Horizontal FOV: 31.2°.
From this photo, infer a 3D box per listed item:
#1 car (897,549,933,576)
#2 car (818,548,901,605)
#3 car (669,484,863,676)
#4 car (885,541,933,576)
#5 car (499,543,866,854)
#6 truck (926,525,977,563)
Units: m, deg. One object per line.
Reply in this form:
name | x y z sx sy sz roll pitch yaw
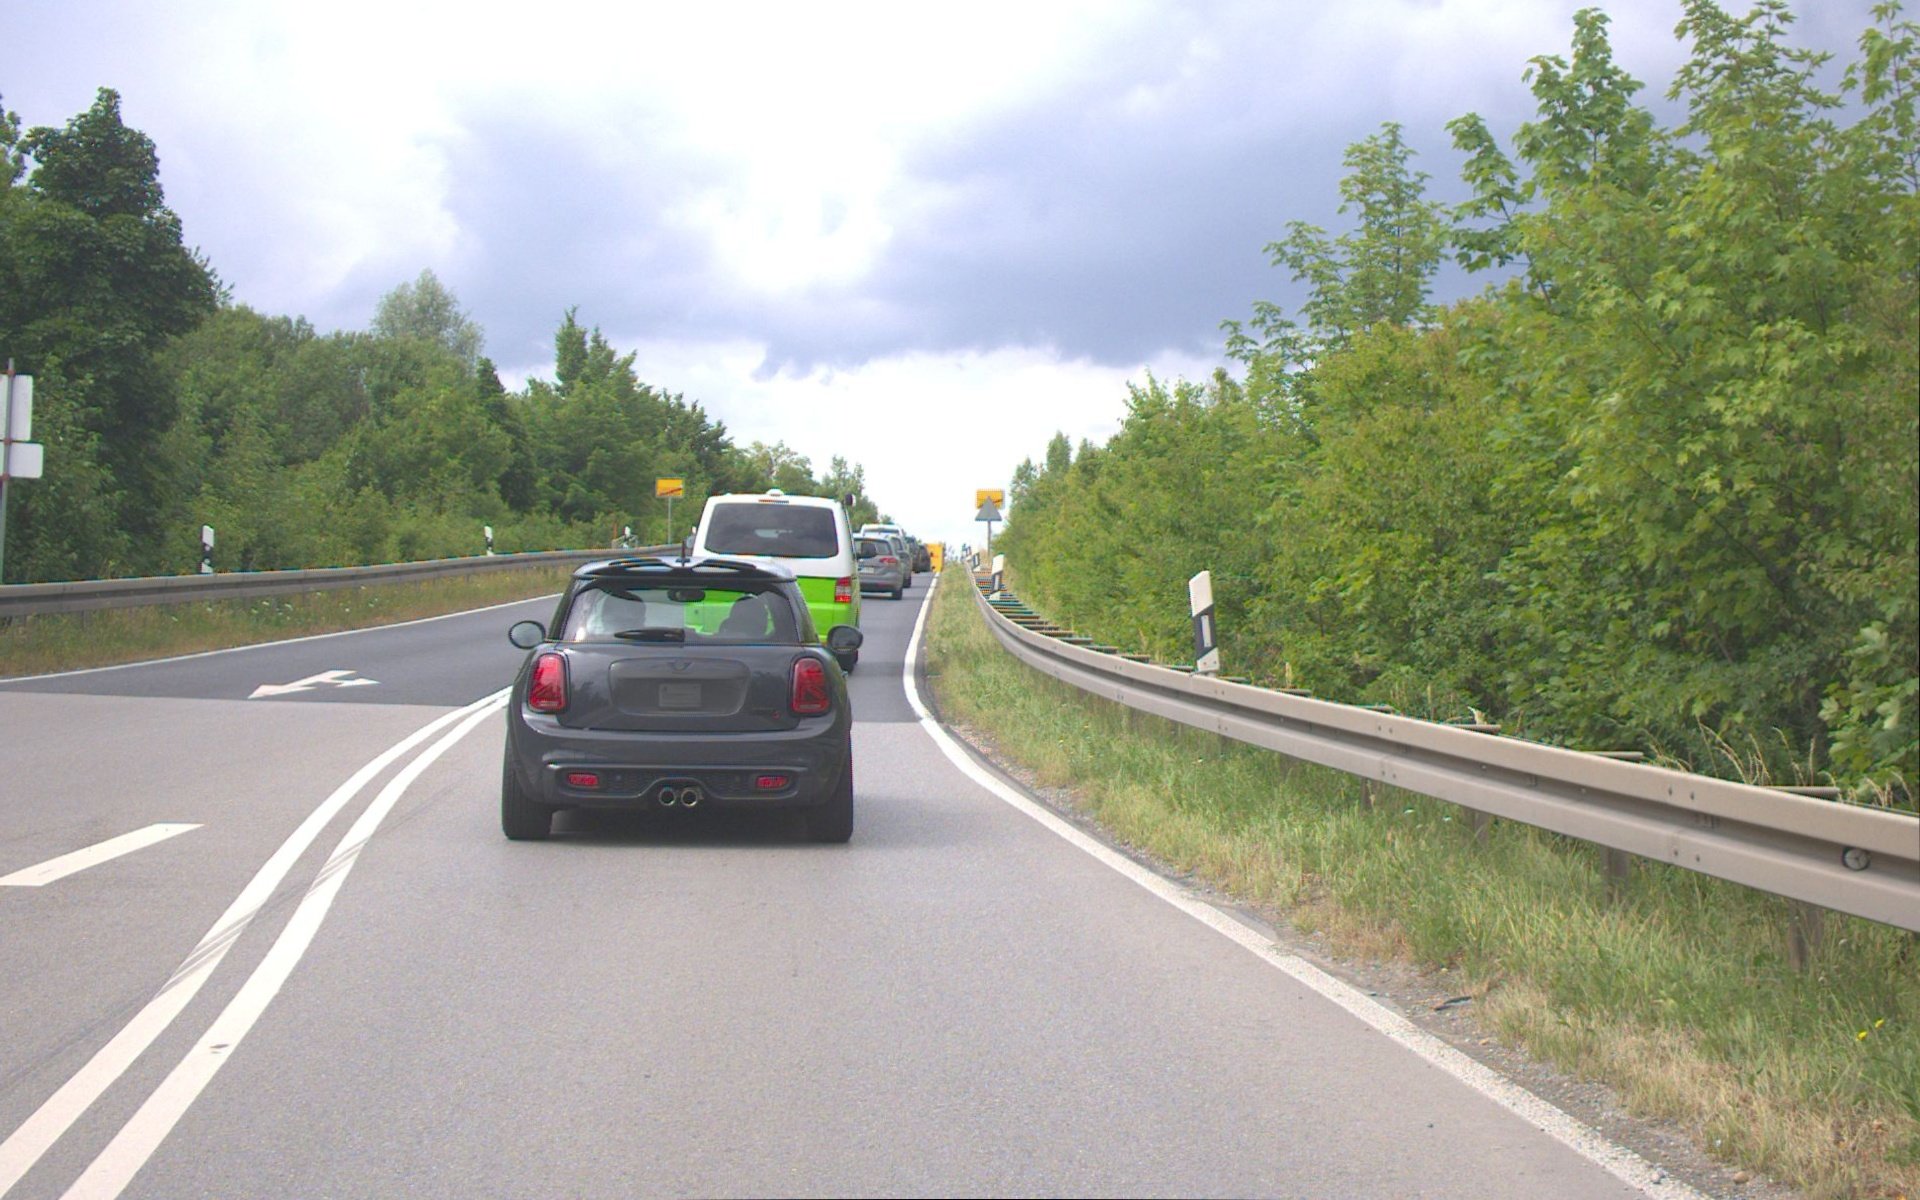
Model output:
car | -2.325 -1.968 178.219 1.694 1.315 4.000 0 1 2
car | -2.240 -0.546 77.291 1.694 1.218 4.000 0 1 1
car | -2.151 -0.260 38.956 2.022 2.006 4.001 2 1 -2
car | -1.991 -1.643 134.611 1.694 1.315 4.000 0 1 2
car | -1.537 0.442 18.461 1.731 1.451 4.001 1 1 -6
truck | -0.496 -3.581 218.974 2.910 2.364 10.452 0 1 1
